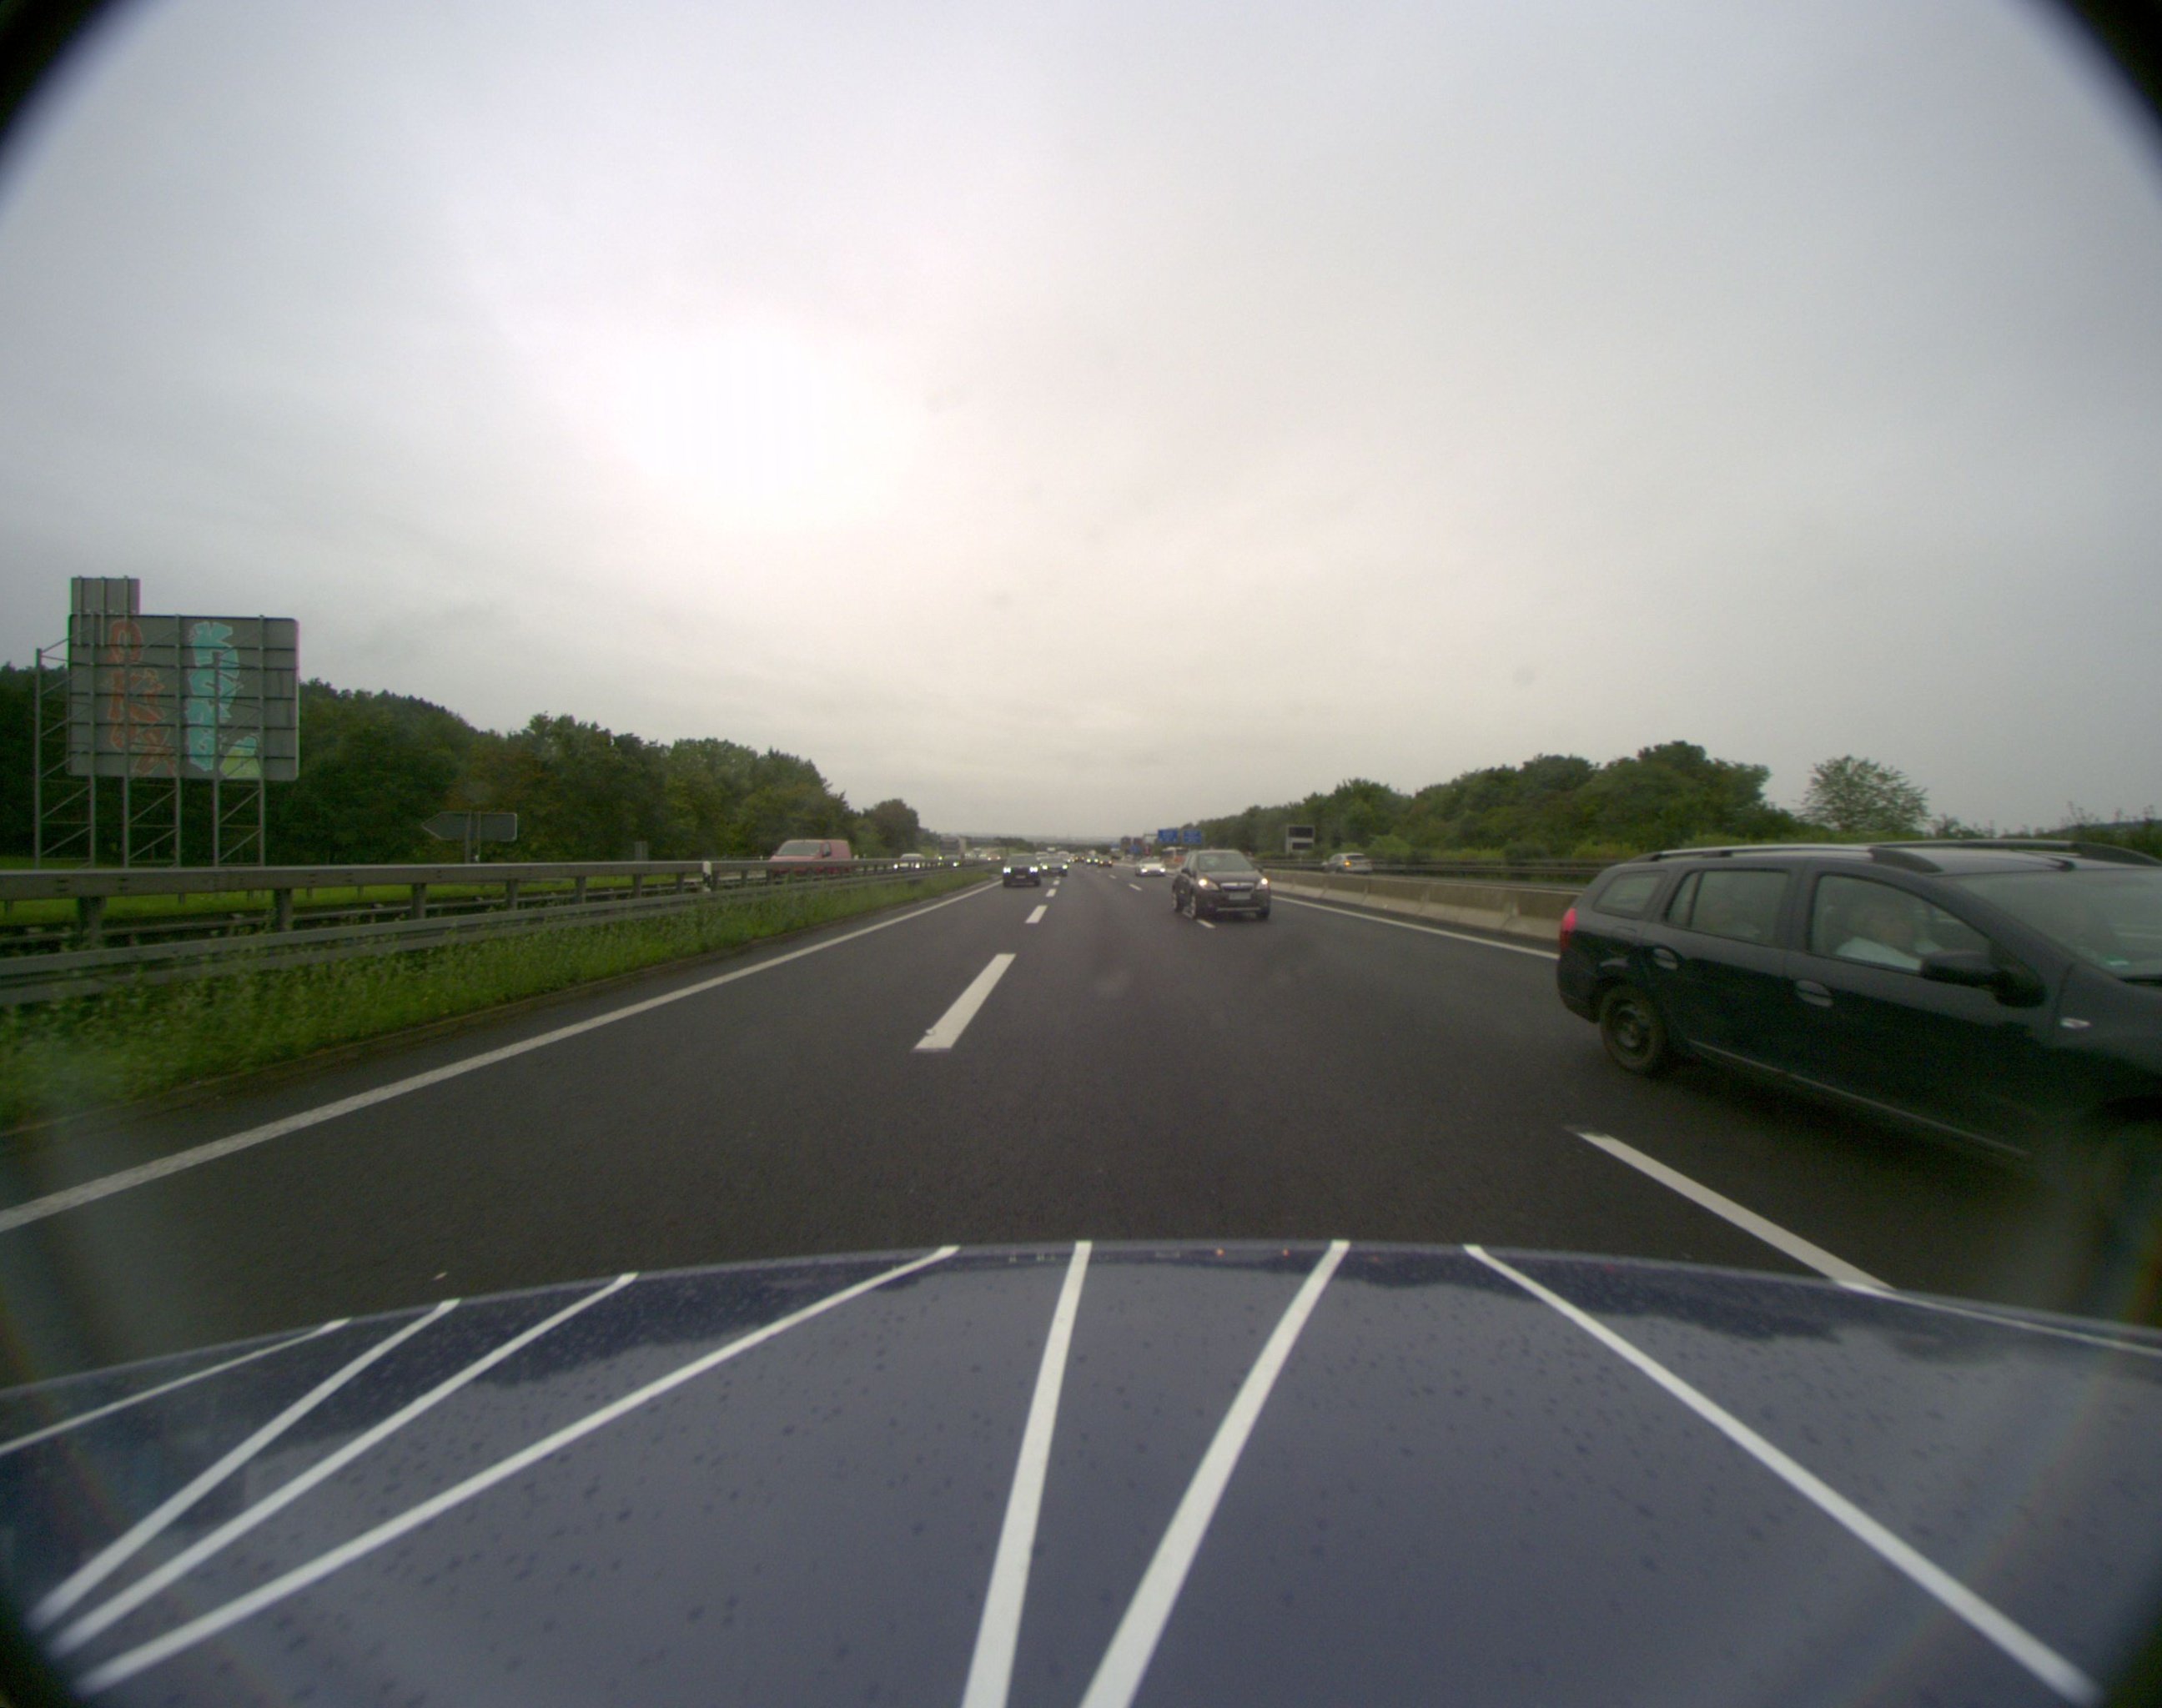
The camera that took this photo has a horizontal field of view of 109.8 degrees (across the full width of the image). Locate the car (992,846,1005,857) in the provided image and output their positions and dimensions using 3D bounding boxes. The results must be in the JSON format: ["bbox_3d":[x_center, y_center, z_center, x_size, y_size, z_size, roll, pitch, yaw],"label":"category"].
[{"bbox_3d":[-15.582,-0.454,143.670,1.752,2.002,4.498,0,1,1],"label":"car"}]

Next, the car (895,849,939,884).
[{"bbox_3d":[-10.213,0.735,47.636,1.752,2.002,4.498,0,1,1],"label":"car"}]

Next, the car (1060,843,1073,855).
[{"bbox_3d":[-2.467,-0.852,132.300,2.017,1.994,4.565,0,1,-4],"label":"car"}]

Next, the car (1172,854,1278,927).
[{"bbox_3d":[3.438,0.803,18.860,1.813,1.571,3.834,0,1,-2],"label":"car"}]

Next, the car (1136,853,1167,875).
[{"bbox_3d":[5.037,0.671,54.846,1.726,1.481,4.566,0,1,-2],"label":"car"}]

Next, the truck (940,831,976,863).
[{"bbox_3d":[-15.861,-0.924,98.792,2.798,3.878,10.027,0,1,1],"label":"truck"}]

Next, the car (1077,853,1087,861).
[{"bbox_3d":[0.151,0.530,152.106,1.726,1.481,4.565,0,1,-2],"label":"car"}]

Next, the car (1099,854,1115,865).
[{"bbox_3d":[3.319,0.672,96.874,1.726,1.397,4.565,0,1,-3],"label":"car"}]

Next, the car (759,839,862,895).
[{"bbox_3d":[-10.456,0.443,29.859,2.129,2.002,5.076,0,1,1],"label":"car"}]

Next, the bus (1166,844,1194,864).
[{"bbox_3d":[15.306,-0.081,118.641,2.705,2.941,11.895,0,1,-1],"label":"bus"}]

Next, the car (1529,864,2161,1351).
[{"bbox_3d":[4.368,0.849,3.682,1.726,1.481,4.566,0,1,0],"label":"car"}]

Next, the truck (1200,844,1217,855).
[{"bbox_3d":[27.700,-0.981,164.769,2.031,2.228,6.156,0,0,-6],"label":"truck"}]

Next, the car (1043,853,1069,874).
[{"bbox_3d":[-1.908,0.690,58.580,1.886,1.519,3.999,0,1,-2],"label":"car"}]

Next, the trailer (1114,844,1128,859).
[{"bbox_3d":[10.507,-0.744,200.352,2.911,3.727,8.924,0,1,-2],"label":"trailer"}]

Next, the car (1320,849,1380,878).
[{"bbox_3d":[15.907,0.520,45.248,1.897,1.640,4.601,0,1,-1],"label":"car"}]

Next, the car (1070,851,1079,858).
[{"bbox_3d":[-1.502,0.113,175.873,1.726,1.481,4.565,0,1,-4],"label":"car"}]

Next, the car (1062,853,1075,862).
[{"bbox_3d":[-2.044,0.549,125.621,1.920,1.481,4.565,0,1,-4],"label":"car"}]

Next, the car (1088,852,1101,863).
[{"bbox_3d":[2.136,0.582,121.029,1.782,1.669,4.565,0,1,-3],"label":"car"}]

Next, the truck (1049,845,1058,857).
[{"bbox_3d":[-8.955,-0.995,250.032,2.799,3.878,10.025,0,1,-1],"label":"truck"}]

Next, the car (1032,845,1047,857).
[{"bbox_3d":[-5.935,-0.433,108.842,1.975,1.674,3.998,0,1,-4],"label":"car"}]

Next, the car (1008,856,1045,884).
[{"bbox_3d":[-2.919,0.822,41.441,1.867,1.349,4.565,0,1,-2],"label":"car"}]

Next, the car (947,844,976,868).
[{"bbox_3d":[-10.408,0.171,66.503,1.752,2.002,4.498,0,1,1],"label":"car"}]

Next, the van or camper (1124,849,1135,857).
[{"bbox_3d":[9.366,-0.186,148.076,1.753,1.439,4.584,0,1,-2],"label":"van or camper"}]

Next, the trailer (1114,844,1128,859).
[{"bbox_3d":[10.507,-0.744,200.352,2.911,3.727,8.924,0,1,-2],"label":"trailer"}]
